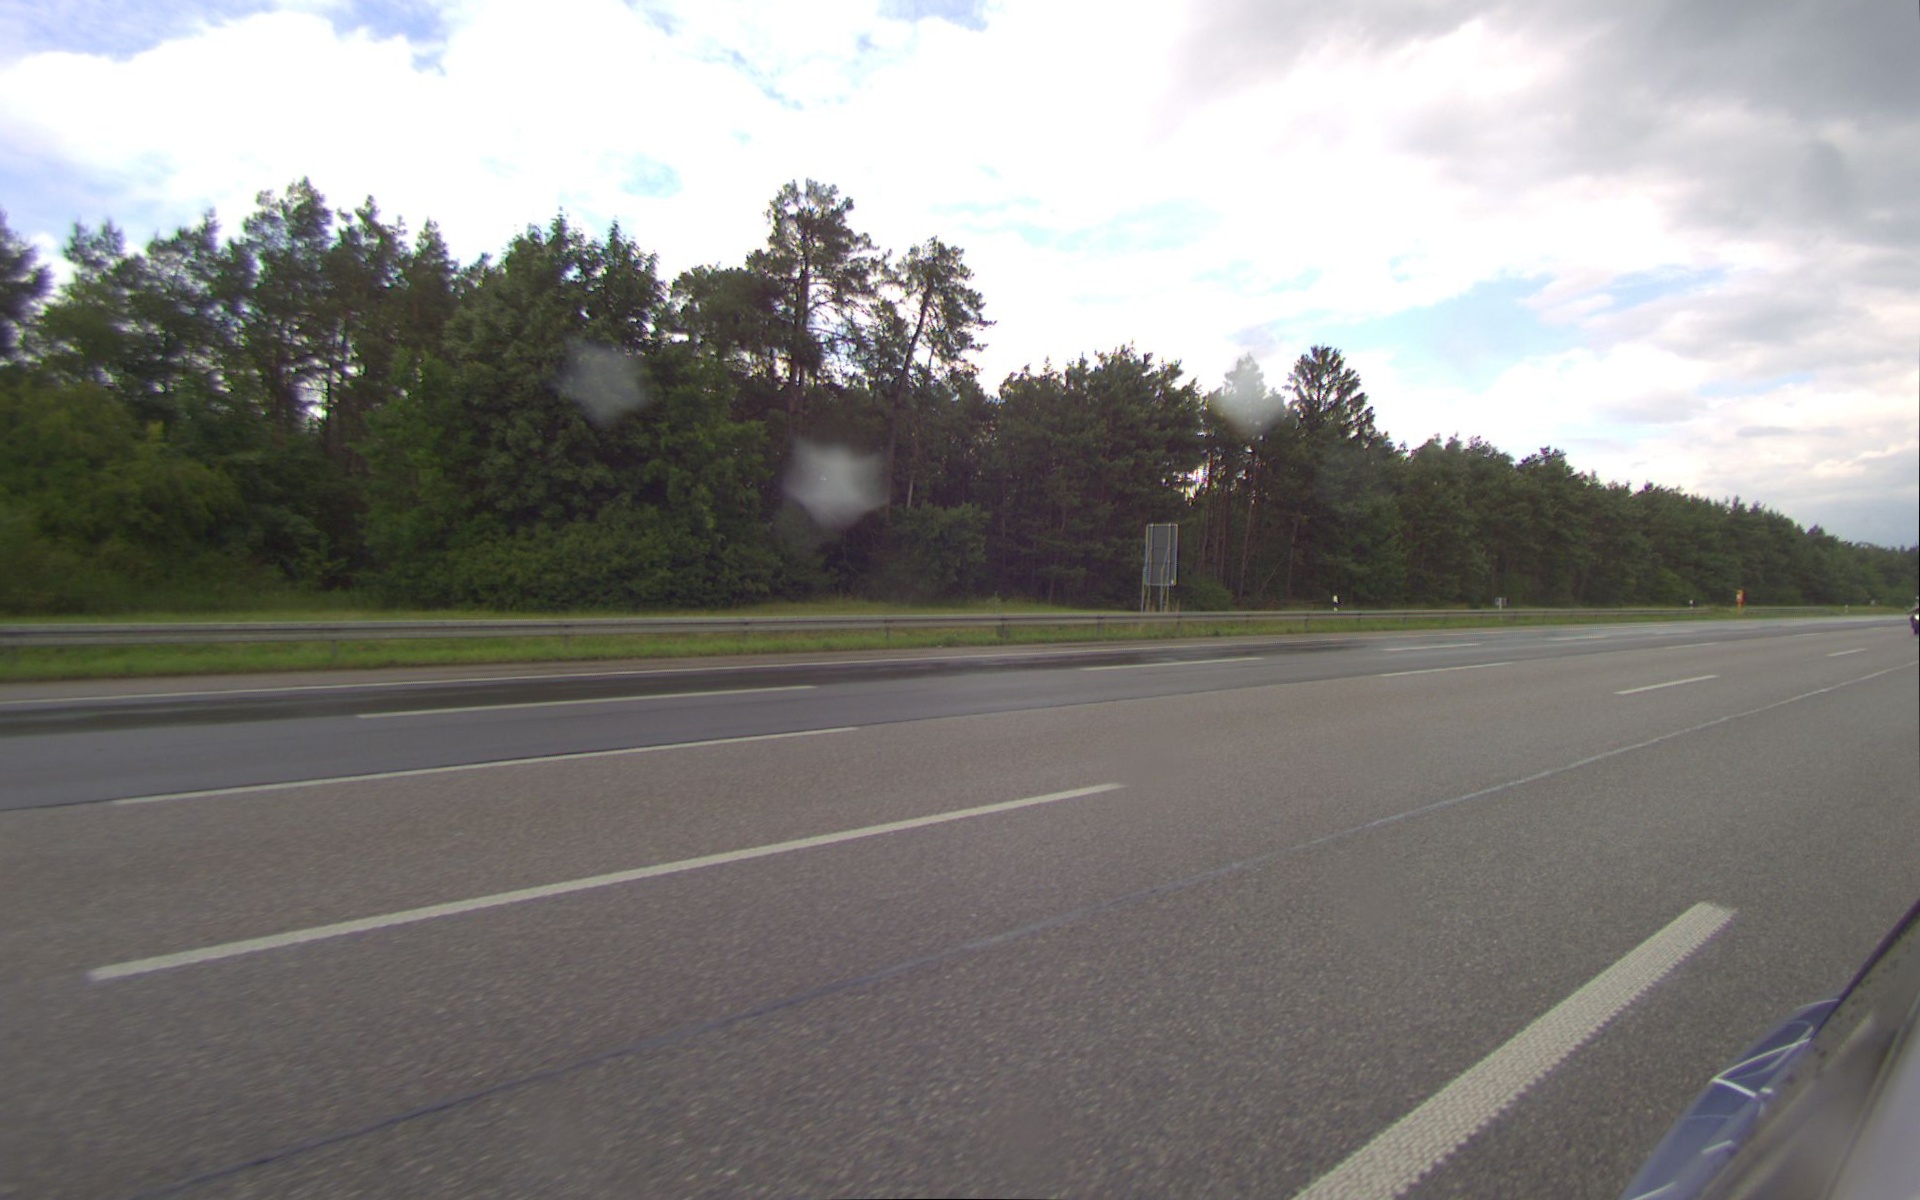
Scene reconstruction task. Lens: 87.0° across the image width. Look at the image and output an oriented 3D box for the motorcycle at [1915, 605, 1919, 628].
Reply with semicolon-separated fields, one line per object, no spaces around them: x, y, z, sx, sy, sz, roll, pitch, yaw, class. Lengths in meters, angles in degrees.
44.459;0.754;46.124;2.133;1.044;1.003;0;1;-37;motorcycle
